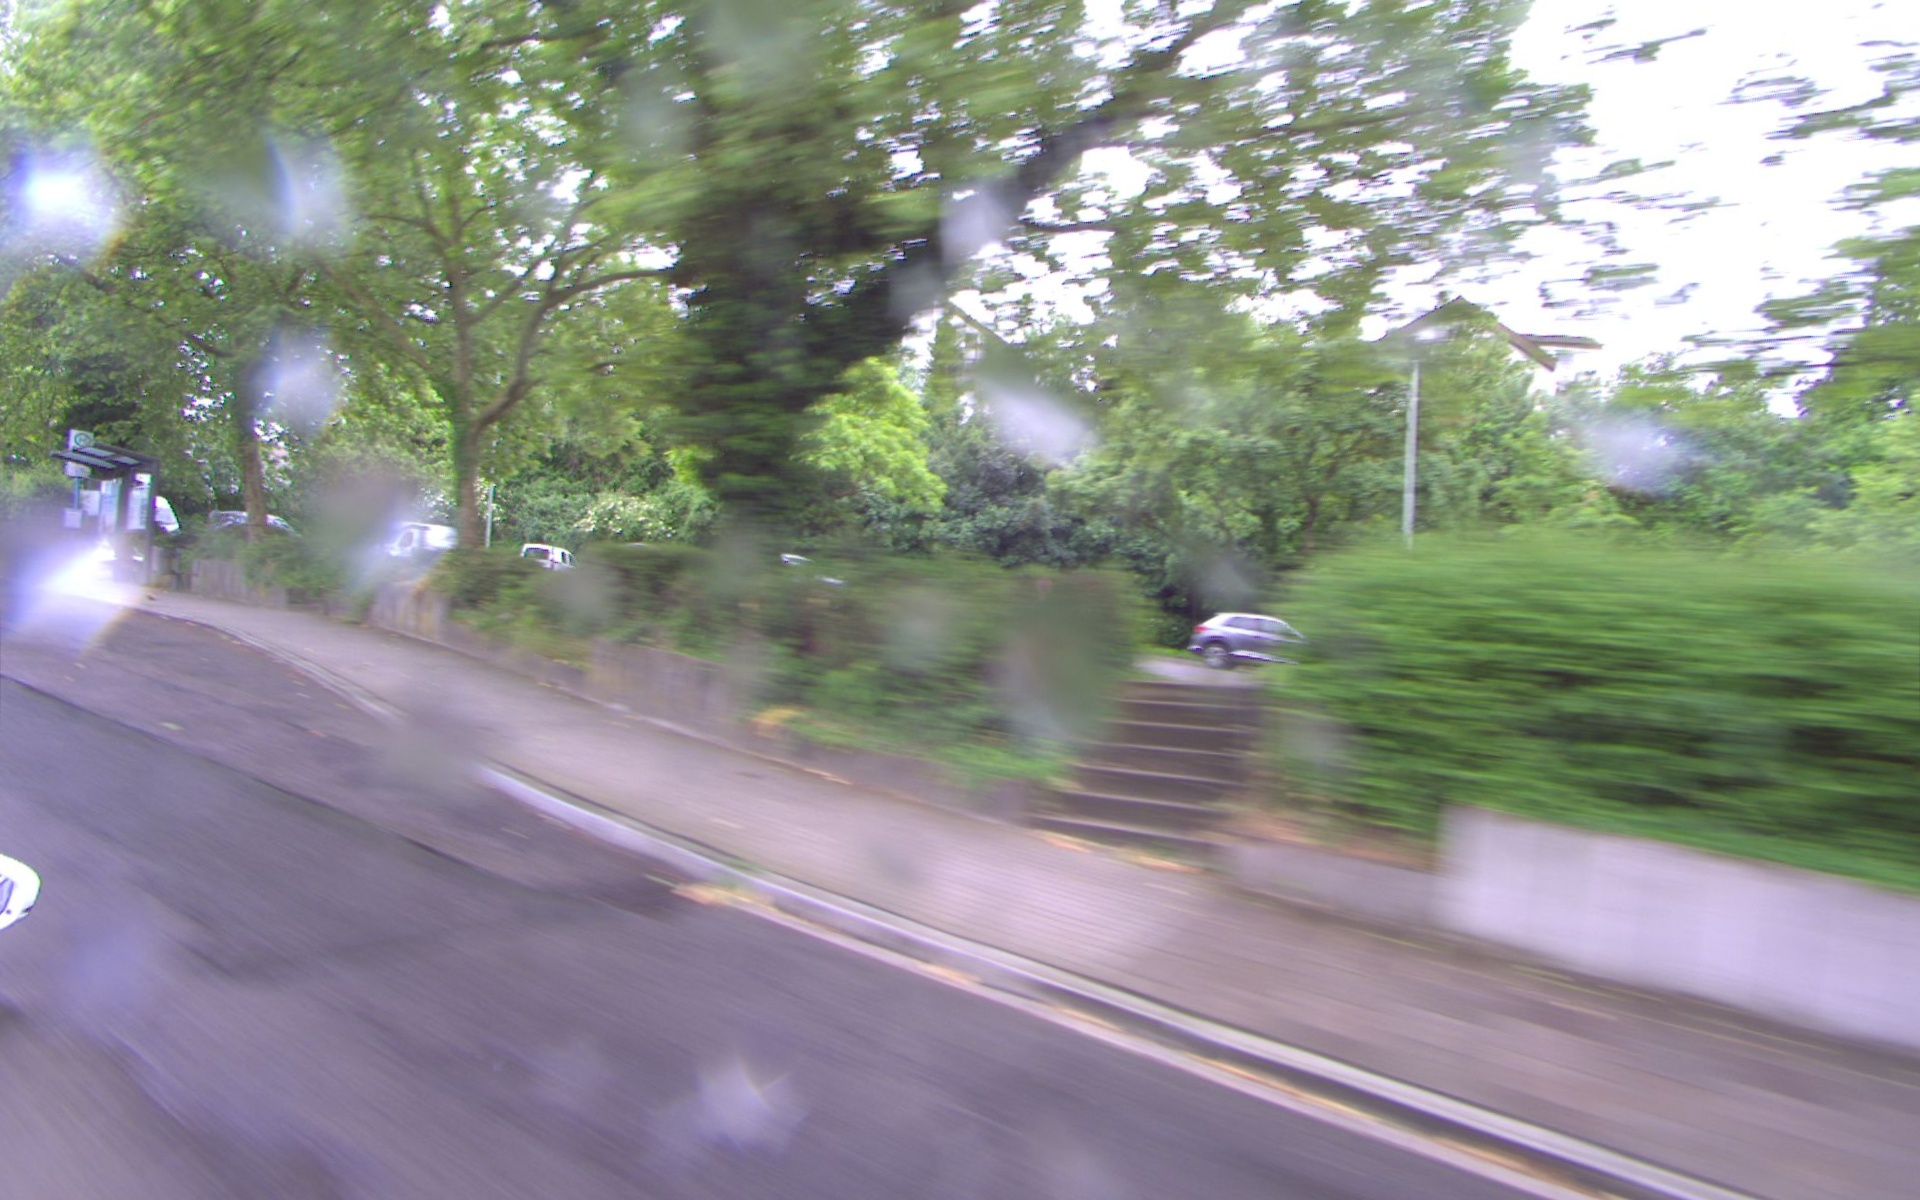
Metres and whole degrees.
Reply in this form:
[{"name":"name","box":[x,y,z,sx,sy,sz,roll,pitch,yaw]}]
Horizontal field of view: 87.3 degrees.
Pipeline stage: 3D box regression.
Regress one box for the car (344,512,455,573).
[{"name":"car","box":[-26.765,-2.696,48.274,1.961,2.035,5.212,8,-3,3]}]

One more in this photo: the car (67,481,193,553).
[{"name":"car","box":[-34.487,-3.470,41.780,4.929,2.310,2.051,7,-2,27]}]

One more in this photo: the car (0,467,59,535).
[{"name":"car","box":[-37.098,-3.931,38.906,4.063,2.252,1.998,7,-2,30]}]

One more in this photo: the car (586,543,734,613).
[{"name":"car","box":[-9.097,-0.675,30.465,4.102,1.468,1.900,7,-4,32]}]

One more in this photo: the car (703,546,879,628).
[{"name":"car","box":[-4.400,-0.346,26.103,4.100,1.468,1.900,7,-3,30]}]

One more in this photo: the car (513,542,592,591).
[{"name":"car","box":[-19.657,-1.575,48.744,1.770,1.683,4.186,8,-3,3]}]

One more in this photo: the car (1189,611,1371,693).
[{"name":"car","box":[8.341,1.343,26.288,4.100,1.468,1.900,7,-3,30]}]
